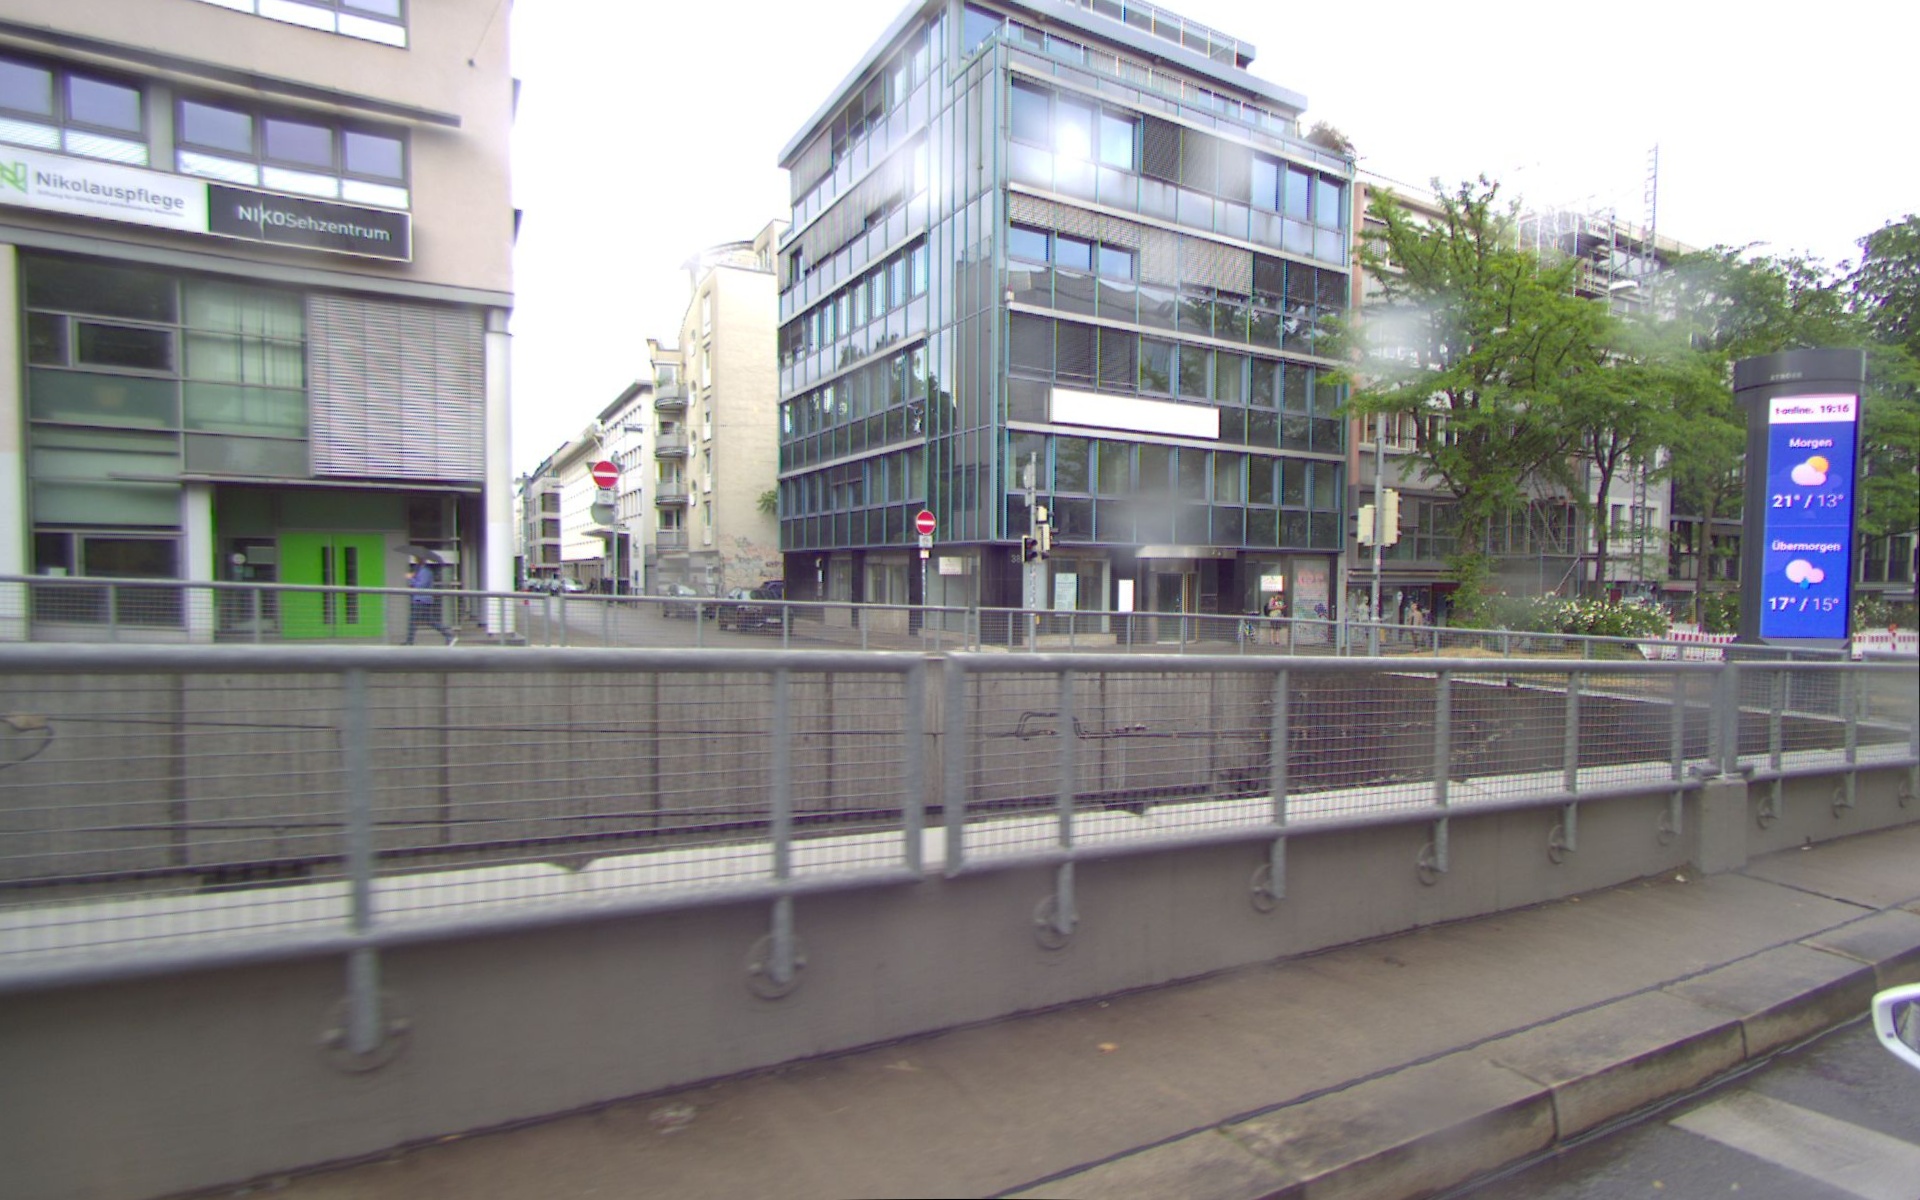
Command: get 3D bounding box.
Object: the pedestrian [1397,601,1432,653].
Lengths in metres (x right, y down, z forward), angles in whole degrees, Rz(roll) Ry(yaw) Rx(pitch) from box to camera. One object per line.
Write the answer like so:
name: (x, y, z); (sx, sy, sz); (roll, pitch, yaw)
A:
pedestrian: (15.891, 0.953, 35.094); (0.867, 1.765, 0.689); (1, 2, -32)

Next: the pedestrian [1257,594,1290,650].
pedestrian: (10.228, 0.707, 32.784); (0.688, 1.765, 0.691); (1, 2, -35)

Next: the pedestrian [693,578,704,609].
pedestrian: (-14.152, -0.373, 54.371); (0.443, 1.664, 0.326); (1, 2, -35)

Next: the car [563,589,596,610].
car: (-29.750, -0.060, 78.407); (1.777, 1.578, 3.967); (1, 0, -30)

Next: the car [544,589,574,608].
car: (-34.688, -0.175, 86.875); (1.777, 1.578, 3.967); (1, 0, -30)

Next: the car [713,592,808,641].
car: (-6.960, 0.530, 34.734); (1.977, 1.578, 3.966); (1, 0, -31)

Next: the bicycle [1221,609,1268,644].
bicycle: (9.148, 0.851, 32.276); (1.544, 1.100, 0.444); (1, 1, -27)

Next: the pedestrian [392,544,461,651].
pedestrian: (-9.648, -0.050, 18.164); (1.047, 1.863, 0.853); (2, 2, -30)

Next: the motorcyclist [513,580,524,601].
motorcyclist: (-39.838, -0.860, 90.616); (0.850, 1.832, 1.007); (2, 1, -29)

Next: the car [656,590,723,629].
car: (-11.819, 0.377, 43.675); (1.777, 1.578, 3.966); (1, 0, -31)
